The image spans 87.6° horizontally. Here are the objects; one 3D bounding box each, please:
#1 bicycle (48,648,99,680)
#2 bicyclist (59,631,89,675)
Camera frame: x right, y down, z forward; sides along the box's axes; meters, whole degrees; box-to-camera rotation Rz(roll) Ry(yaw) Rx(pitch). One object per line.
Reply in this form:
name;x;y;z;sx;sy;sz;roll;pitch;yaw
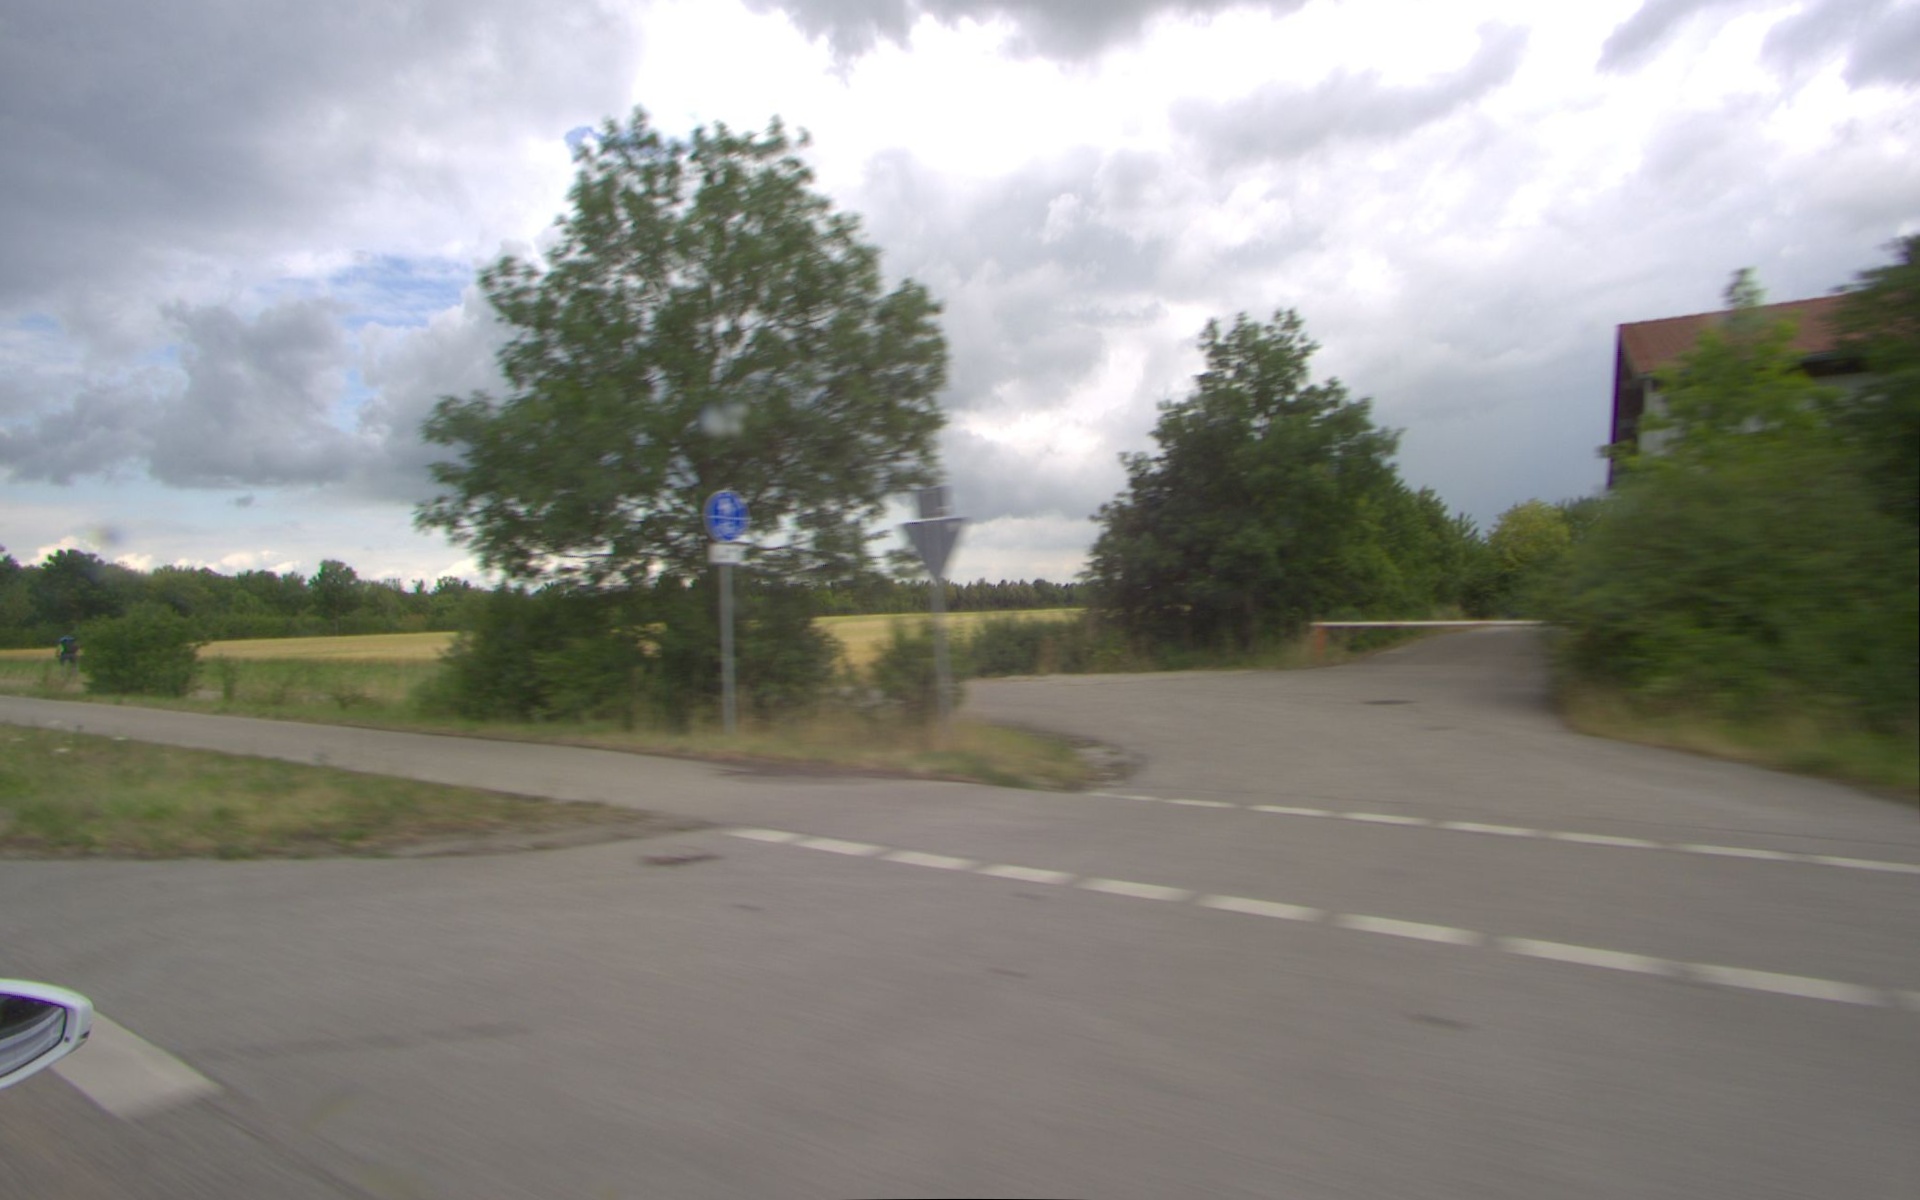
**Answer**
bicycle;-32.646;2.355;36.874;2.791;1.152;0.655;-2;-2;32
bicyclist;-32.622;1.945;36.866;0.733;1.601;0.655;-2;-2;32
